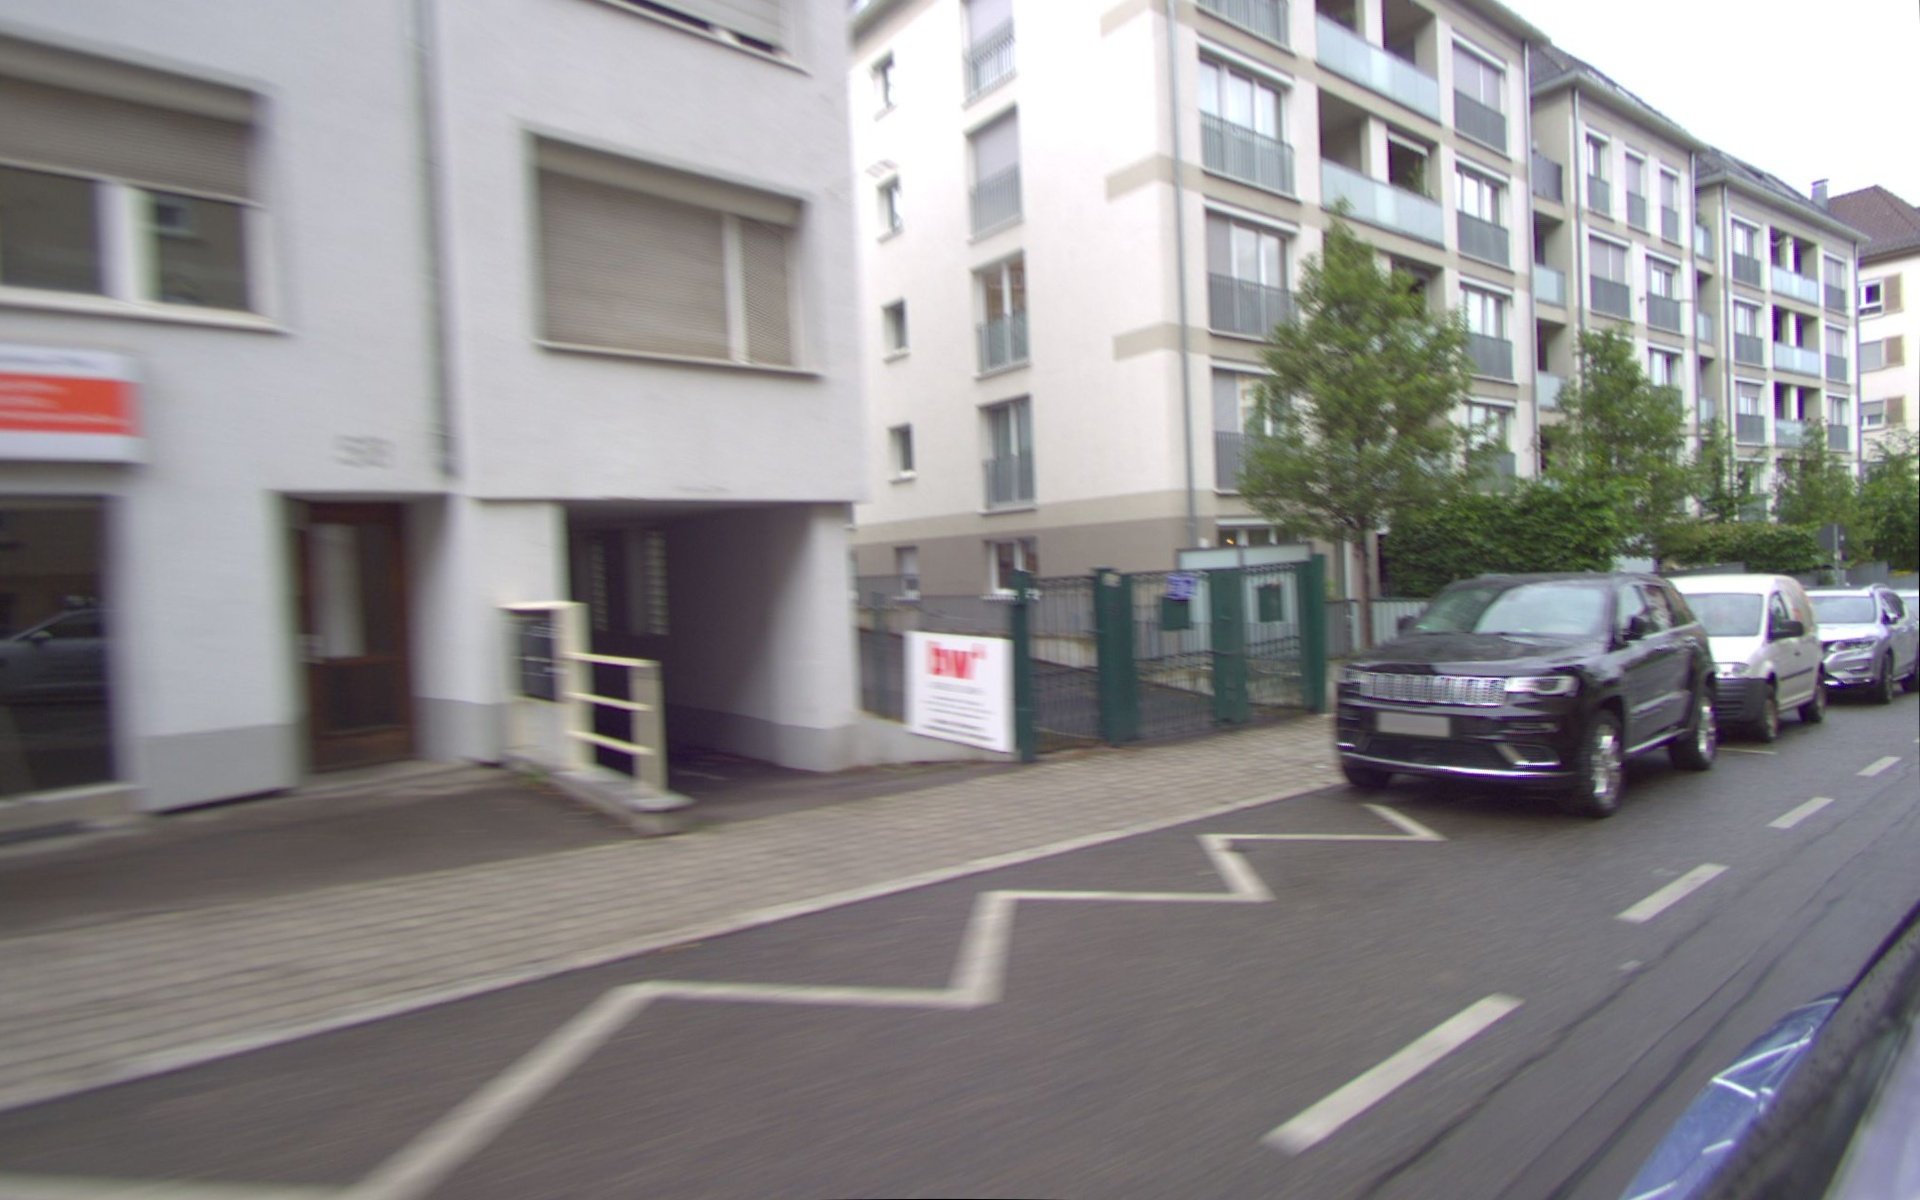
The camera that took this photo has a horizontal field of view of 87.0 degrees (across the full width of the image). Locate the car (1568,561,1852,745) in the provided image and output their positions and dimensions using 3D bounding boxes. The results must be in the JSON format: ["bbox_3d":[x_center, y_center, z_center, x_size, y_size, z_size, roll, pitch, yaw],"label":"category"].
[{"bbox_3d":[9.097,0.514,12.139,4.393,1.818,1.781,-1,-1,-41],"label":"car"}]

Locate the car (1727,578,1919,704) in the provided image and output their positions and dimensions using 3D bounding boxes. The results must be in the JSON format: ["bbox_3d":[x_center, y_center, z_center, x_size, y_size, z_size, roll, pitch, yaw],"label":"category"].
[{"bbox_3d":[13.809,0.528,15.817,4.603,1.677,1.836,-1,0,-39],"label":"car"}]

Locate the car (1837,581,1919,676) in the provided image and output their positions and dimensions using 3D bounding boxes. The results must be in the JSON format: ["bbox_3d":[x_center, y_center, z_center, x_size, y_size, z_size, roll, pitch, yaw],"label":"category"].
[{"bbox_3d":[18.251,0.457,19.111,4.581,1.648,1.835,-1,0,-40],"label":"car"}]

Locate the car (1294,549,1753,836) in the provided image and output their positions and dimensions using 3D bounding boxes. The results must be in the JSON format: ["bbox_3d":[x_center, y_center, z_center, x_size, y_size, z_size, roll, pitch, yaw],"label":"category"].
[{"bbox_3d":[5.042,0.569,8.724,4.738,1.818,1.945,-1,-1,-41],"label":"car"}]
